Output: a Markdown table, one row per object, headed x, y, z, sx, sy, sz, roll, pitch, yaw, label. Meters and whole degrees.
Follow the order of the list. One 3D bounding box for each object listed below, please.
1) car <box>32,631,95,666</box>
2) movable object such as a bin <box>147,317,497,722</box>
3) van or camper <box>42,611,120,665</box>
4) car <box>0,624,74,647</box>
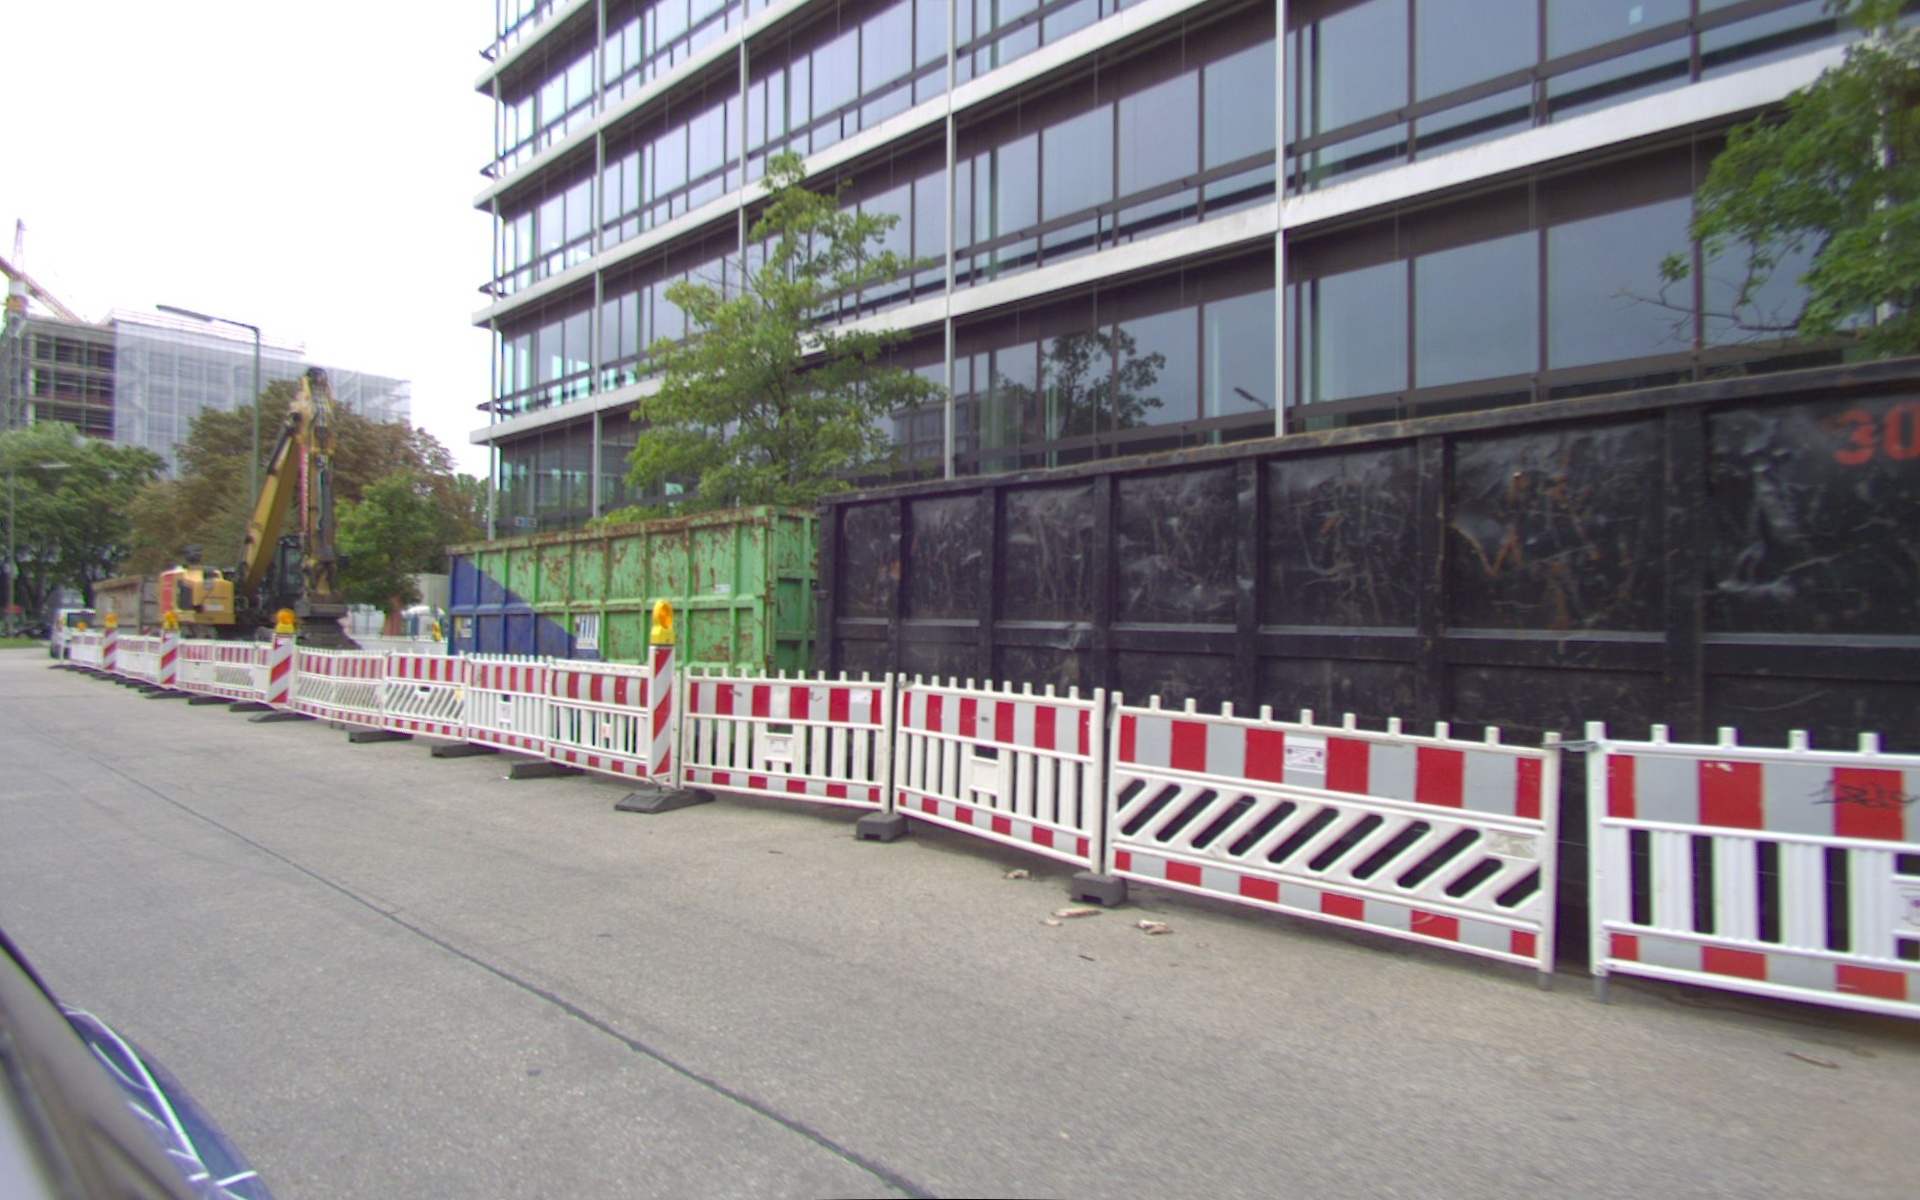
| x | y | z | sx | sy | sz | roll | pitch | yaw | label |
| --- | --- | --- | --- | --- | --- | --- | --- | --- | --- |
| -40.440 | 2.173 | 45.686 | 1.969 | 1.470 | 4.125 | 5 | -4 | -42 | car |
| -13.989 | -1.220 | 21.449 | 11.778 | 6.614 | 2.874 | -1 | -2 | 41 | movable object such as a bin |
| -36.420 | 1.595 | 41.884 | 1.966 | 2.050 | 5.589 | 4 | -5 | -45 | van or camper |
| -65.644 | 2.509 | 71.711 | 1.776 | 1.584 | 3.862 | 1 | -2 | 19 | car |
